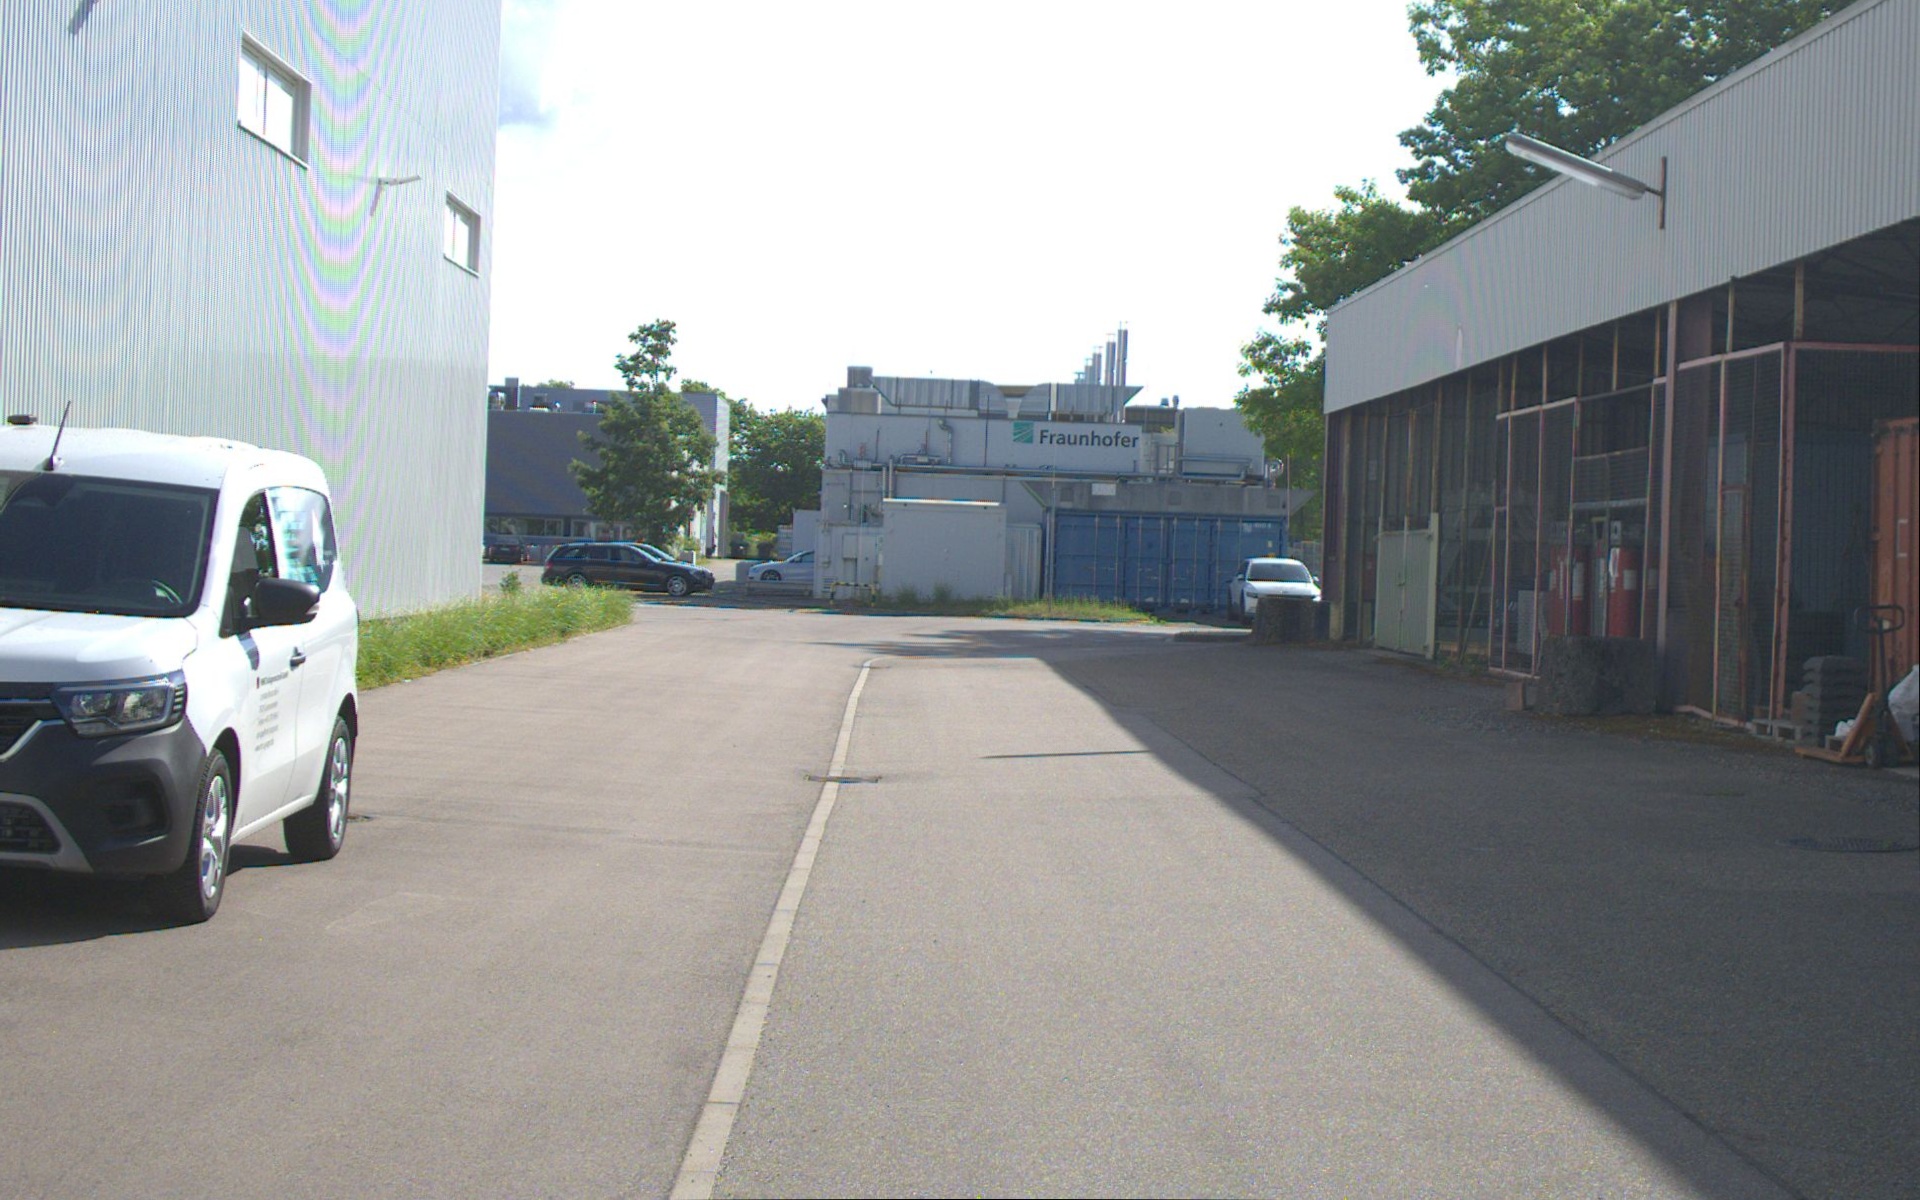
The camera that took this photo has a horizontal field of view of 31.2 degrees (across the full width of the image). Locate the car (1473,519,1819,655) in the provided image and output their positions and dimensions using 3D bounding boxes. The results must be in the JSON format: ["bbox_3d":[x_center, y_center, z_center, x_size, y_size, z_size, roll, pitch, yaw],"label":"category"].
[{"bbox_3d":[10.522,-0.201,52.887,4.767,1.909,2.000,2,0,-9],"label":"car"}]

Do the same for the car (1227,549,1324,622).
[{"bbox_3d":[7.612,-0.374,83.329,1.979,1.597,4.377,1,2,1],"label":"car"}]

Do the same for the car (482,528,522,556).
[{"bbox_3d":[-25.398,-3.234,190.865,1.858,1.489,4.030,1,0,-3],"label":"car"}]

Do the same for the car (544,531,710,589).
[{"bbox_3d":[-9.251,-1.100,95.655,4.447,1.526,1.824,1,0,-1],"label":"car"}]

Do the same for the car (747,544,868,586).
[{"bbox_3d":[-5.464,-1.265,123.581,4.302,1.452,1.824,1,0,-1],"label":"car"}]

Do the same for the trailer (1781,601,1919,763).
[{"bbox_3d":[6.411,0.573,24.751,0.551,1.114,1.547,1,0,-3],"label":"trailer"}]

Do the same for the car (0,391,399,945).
[{"bbox_3d":[-3.525,0.175,13.745,1.783,1.809,4.602,3,0,-1],"label":"car"}]
